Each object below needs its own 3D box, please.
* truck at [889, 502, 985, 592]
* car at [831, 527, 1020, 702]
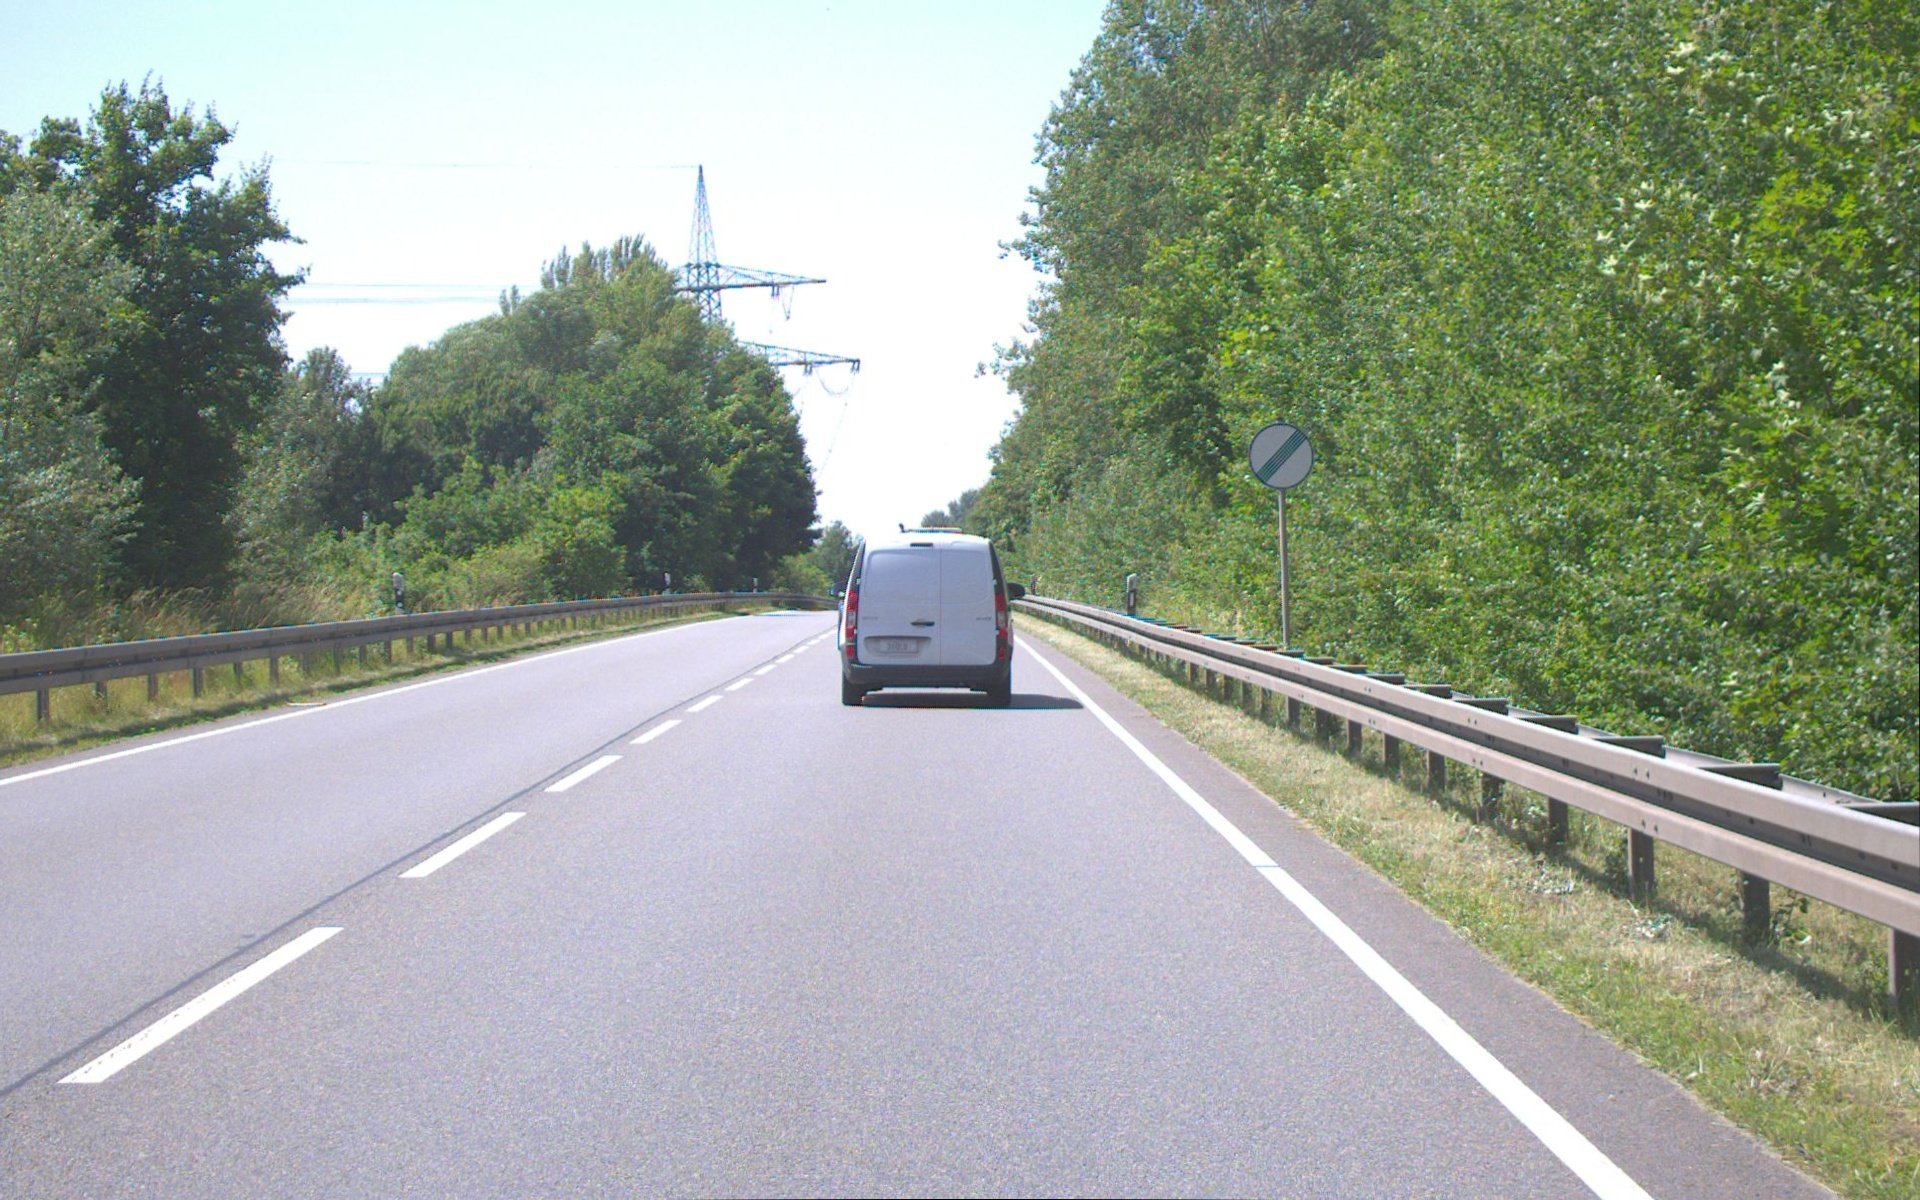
[{"bbox_3d":[-0.989,-2.064,132.965,3.296,3.161,14.406,2,1,-2],"label":"truck"},{"bbox_3d":[-0.367,0.123,36.511,1.875,1.735,4.000,1,1,-1],"label":"car"}]
